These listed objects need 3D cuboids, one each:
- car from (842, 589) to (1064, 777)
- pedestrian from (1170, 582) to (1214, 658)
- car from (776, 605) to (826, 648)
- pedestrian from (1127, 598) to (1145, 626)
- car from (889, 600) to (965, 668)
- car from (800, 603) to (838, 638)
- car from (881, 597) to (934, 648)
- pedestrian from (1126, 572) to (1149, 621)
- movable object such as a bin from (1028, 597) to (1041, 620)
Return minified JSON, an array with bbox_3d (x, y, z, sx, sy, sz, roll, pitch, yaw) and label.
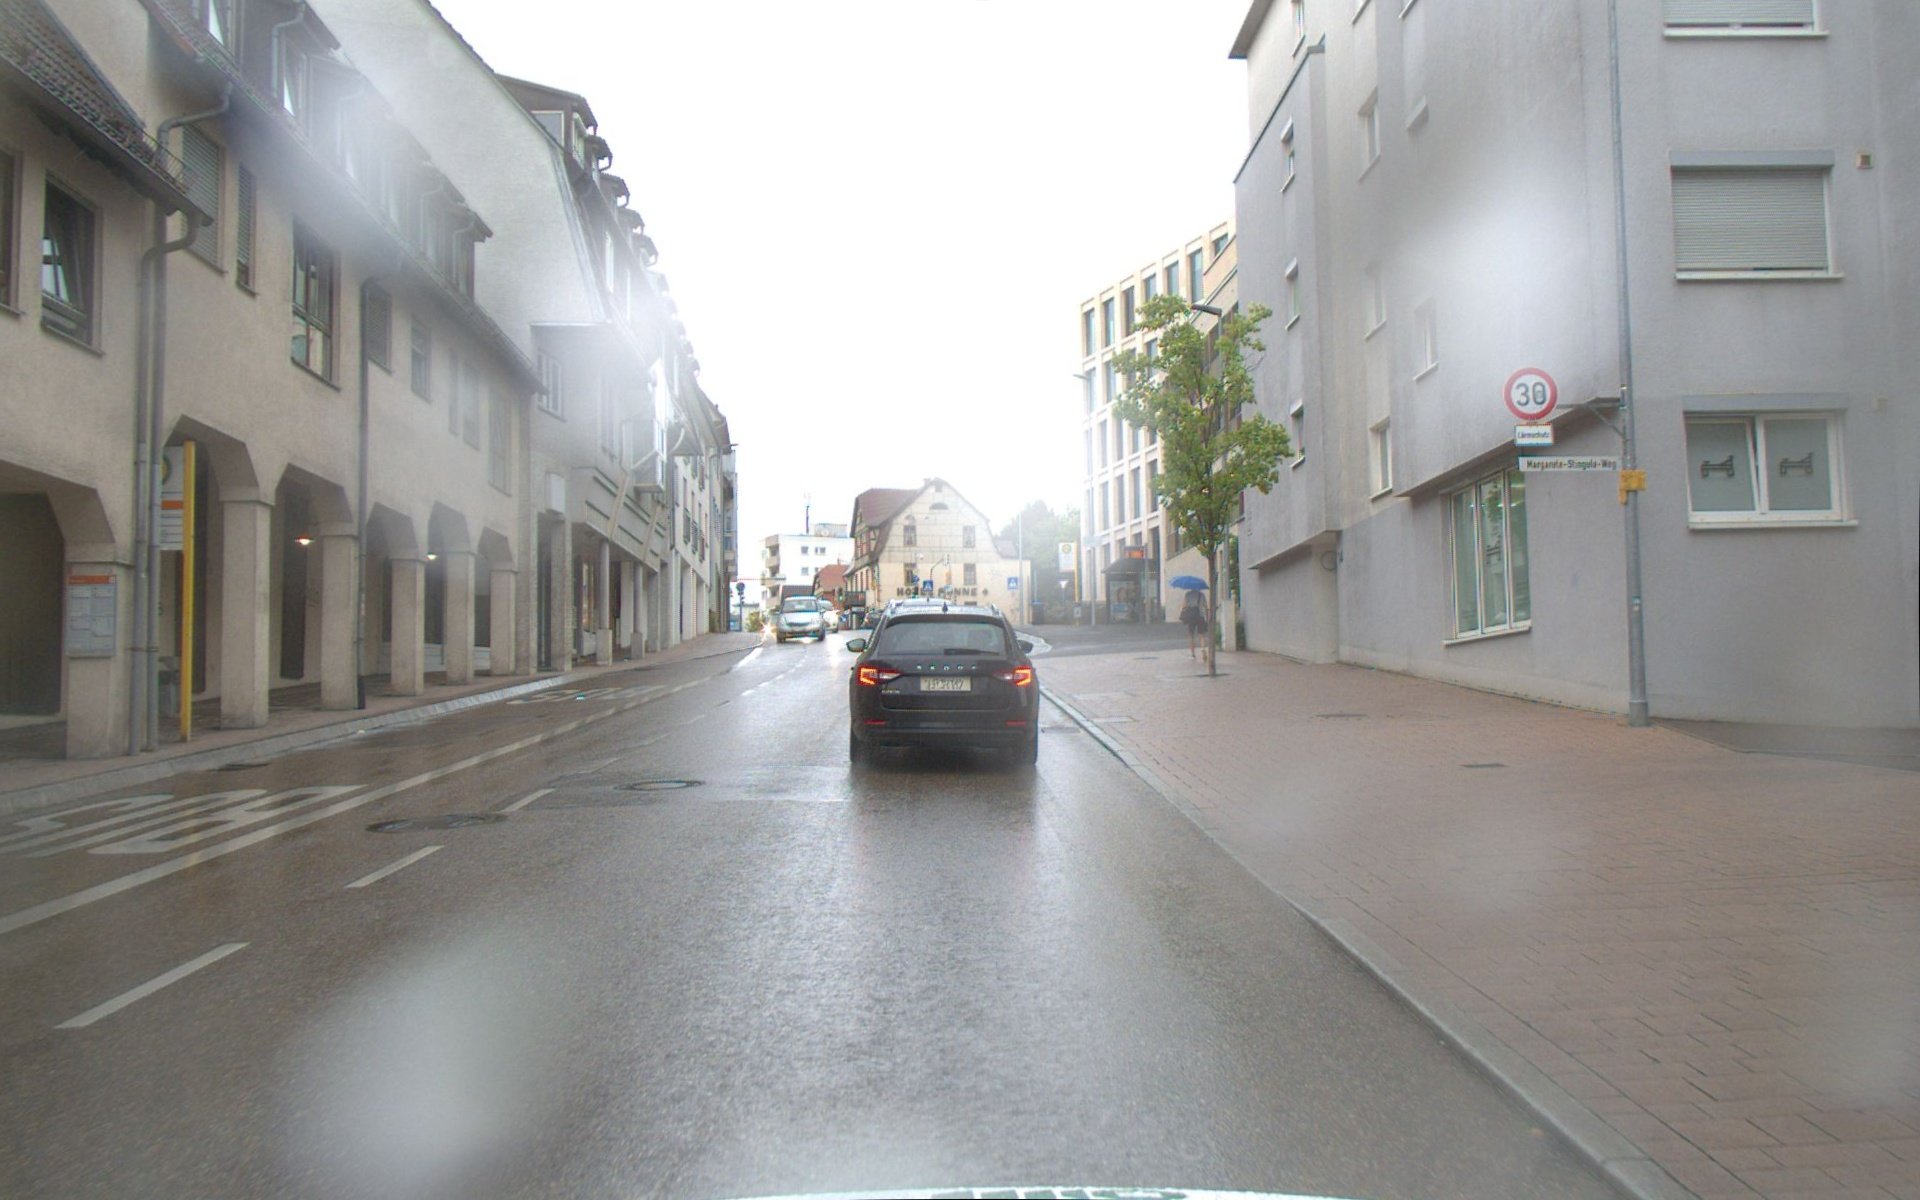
[{"bbox_3d":[-0.123,0.720,16.537,1.905,1.594,4.415,-1,0,-2],"label":"car"},{"bbox_3d":[4.995,0.427,35.733,0.721,1.569,1.038,-4,0,1],"label":"pedestrian"},{"bbox_3d":[-5.933,0.977,62.011,1.643,1.536,3.587,-1,0,-3],"label":"car"},{"bbox_3d":[7.521,0.520,70.614,0.658,1.182,0.635,-3,0,-2],"label":"pedestrian"},{"bbox_3d":[-0.835,0.797,40.110,1.644,1.536,3.586,-1,0,-4],"label":"car"},{"bbox_3d":[-6.386,0.914,75.336,1.644,1.536,3.586,-1,0,-4],"label":"car"},{"bbox_3d":[-1.745,0.731,54.830,1.647,1.587,3.998,-2,0,-2],"label":"car"},{"bbox_3d":[7.421,-0.139,69.207,0.766,1.974,1.021,-3,0,-2],"label":"pedestrian"},{"bbox_3d":[3.678,0.424,81.557,0.583,1.081,0.578,-1,0,-2],"label":"movable object such as a bin"}]
